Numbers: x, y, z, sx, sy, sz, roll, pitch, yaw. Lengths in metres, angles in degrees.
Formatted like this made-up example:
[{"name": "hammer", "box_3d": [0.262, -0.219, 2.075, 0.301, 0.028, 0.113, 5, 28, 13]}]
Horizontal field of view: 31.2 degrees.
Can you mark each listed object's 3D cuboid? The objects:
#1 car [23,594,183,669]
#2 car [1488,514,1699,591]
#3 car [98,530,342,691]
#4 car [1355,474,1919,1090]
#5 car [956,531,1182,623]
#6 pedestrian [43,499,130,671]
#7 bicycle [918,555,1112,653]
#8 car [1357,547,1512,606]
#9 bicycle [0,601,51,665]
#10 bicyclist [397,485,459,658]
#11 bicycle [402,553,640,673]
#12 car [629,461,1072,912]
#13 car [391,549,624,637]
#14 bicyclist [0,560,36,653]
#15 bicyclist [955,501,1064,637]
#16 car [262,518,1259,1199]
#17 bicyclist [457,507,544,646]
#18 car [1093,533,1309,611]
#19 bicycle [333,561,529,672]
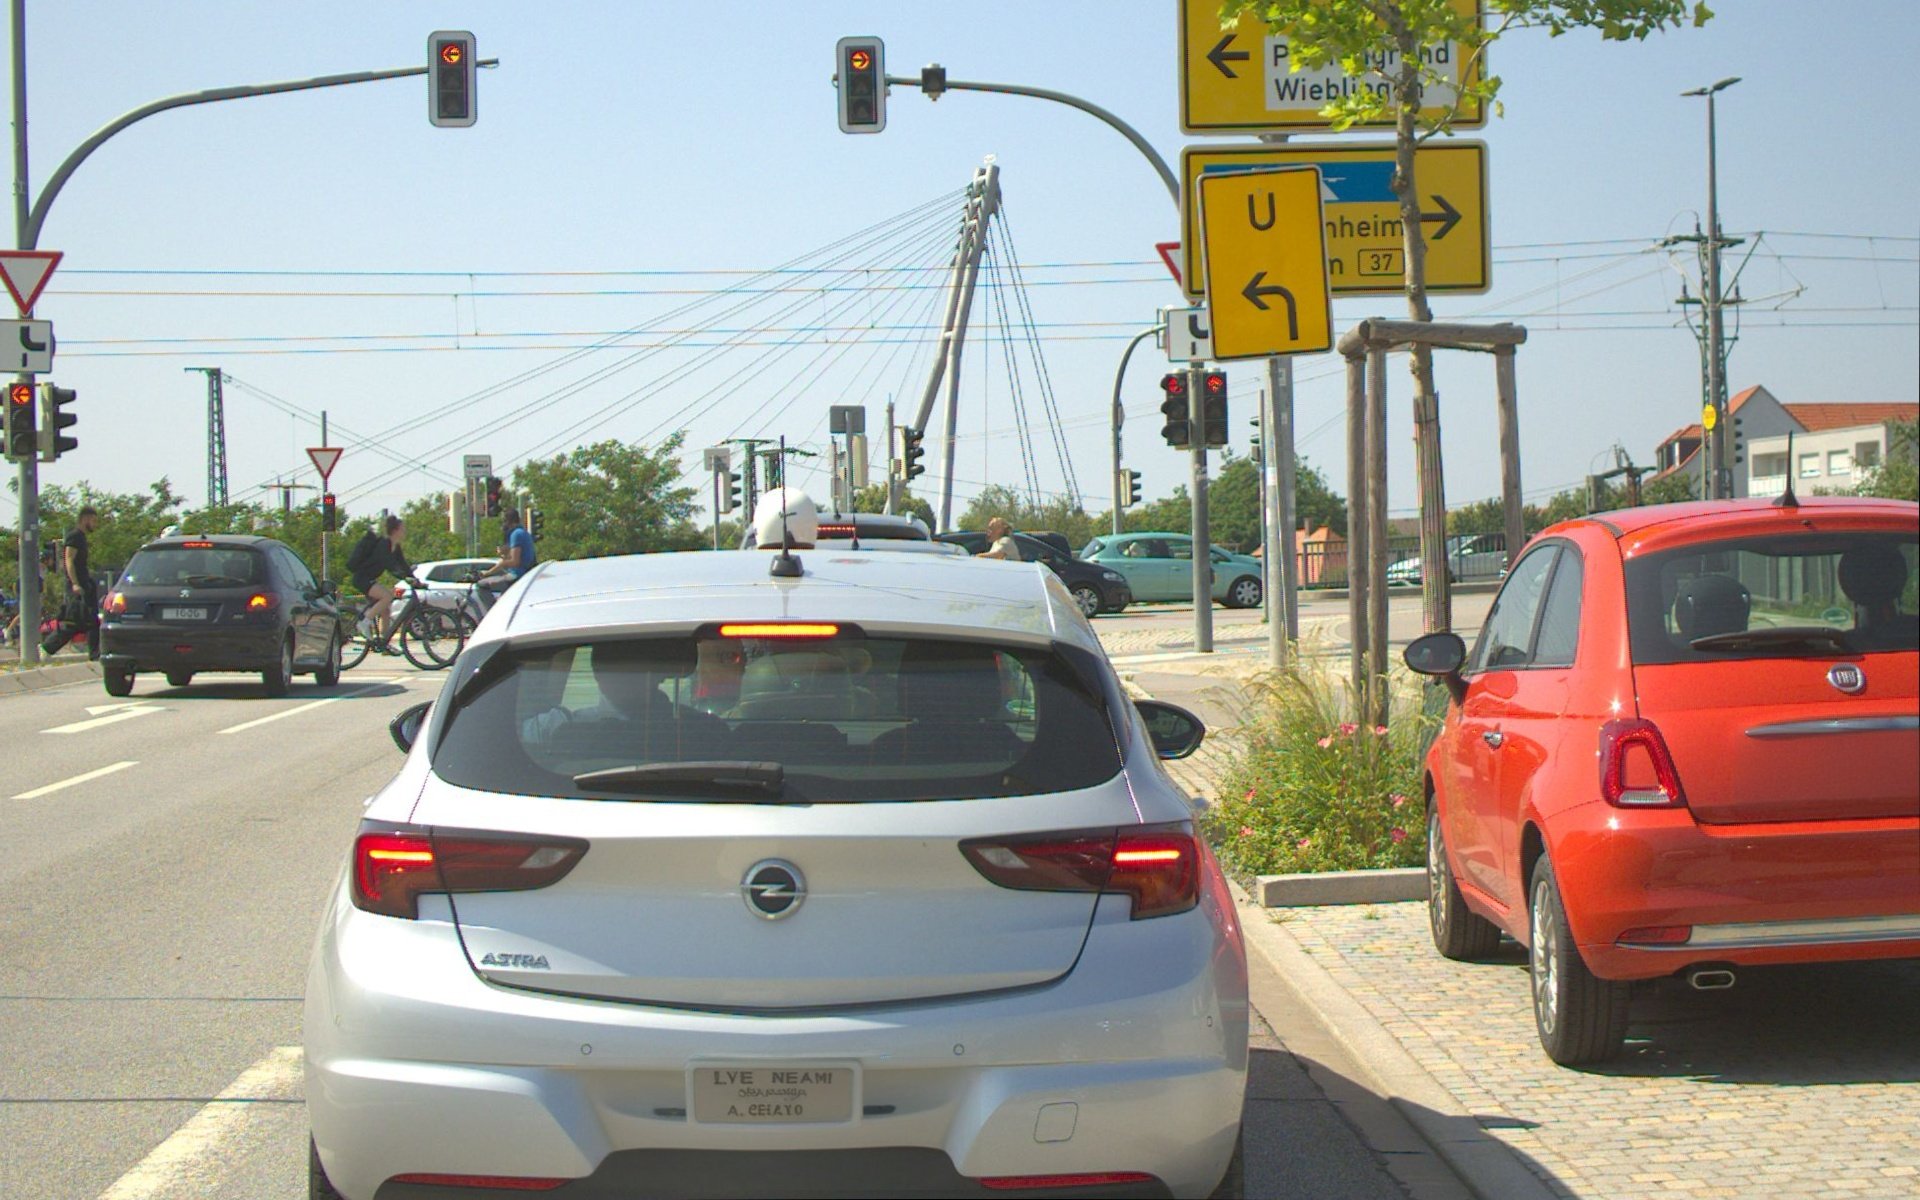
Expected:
[{"name": "car", "box_3d": [-19.920, 0.728, 79.885, 3.385, 1.650, 1.645, 1, 0, 29]}, {"name": "car", "box_3d": [14.350, -1.069, 77.953, 4.244, 1.668, 2.001, 0, 0, -17]}, {"name": "car", "box_3d": [-6.752, 0.083, 31.655, 1.587, 1.390, 3.340, 0, 0, -1]}, {"name": "car", "box_3d": [2.357, 0.403, 10.712, 1.669, 1.534, 3.917, -2, 1, -1]}, {"name": "car", "box_3d": [1.898, -0.414, 60.536, 3.746, 1.578, 1.814, 0, 1, -6]}, {"name": "pedestrian", "box_3d": [-9.592, -0.166, 37.766, 0.740, 1.857, 0.754, 1, 0, -1]}, {"name": "bicycle", "box_3d": [0.660, 0.055, 40.297, 2.358, 1.123, 0.677, 1, 0, -39]}, {"name": "car", "box_3d": [11.024, -0.541, 79.953, 3.211, 1.300, 1.524, 1, 0, -16]}, {"name": "bicycle", "box_3d": [-16.688, 0.556, 59.408, 1.868, 1.064, 0.577, 1, 0, 18]}, {"name": "bicyclist", "box_3d": [-5.854, -0.314, 37.852, 0.594, 1.881, 0.637, 1, 0, -4]}, {"name": "bicycle", "box_3d": [-4.995, 0.138, 39.190, 2.524, 1.130, 0.728, -5, 3, 3]}, {"name": "car", "box_3d": [-0.454, 0.319, 14.841, 1.634, 1.668, 3.745, 1, 0, -1]}, {"name": "car", "box_3d": [-8.347, -0.124, 63.560, 3.975, 1.546, 1.675, -1, 0, 6]}, {"name": "bicyclist", "box_3d": [-16.559, 0.105, 59.347, 0.772, 1.604, 0.948, 1, 0, 17]}, {"name": "bicyclist", "box_3d": [0.576, -0.355, 40.246, 0.945, 1.563, 0.822, 1, 0, -38]}, {"name": "car", "box_3d": [-0.382, 0.589, 7.985, 1.690, 1.514, 4.271, 0, 1, -1]}, {"name": "bicyclist", "box_3d": [-5.236, -0.266, 39.199, 0.822, 1.554, 0.863, 1, 0, 3]}, {"name": "car", "box_3d": [4.462, -0.533, 63.958, 3.789, 1.357, 1.533, -1, 1, -5]}, {"name": "bicycle", "box_3d": [-5.812, 0.178, 37.860, 2.080, 1.174, 0.555, 1, 0, -4]}]
